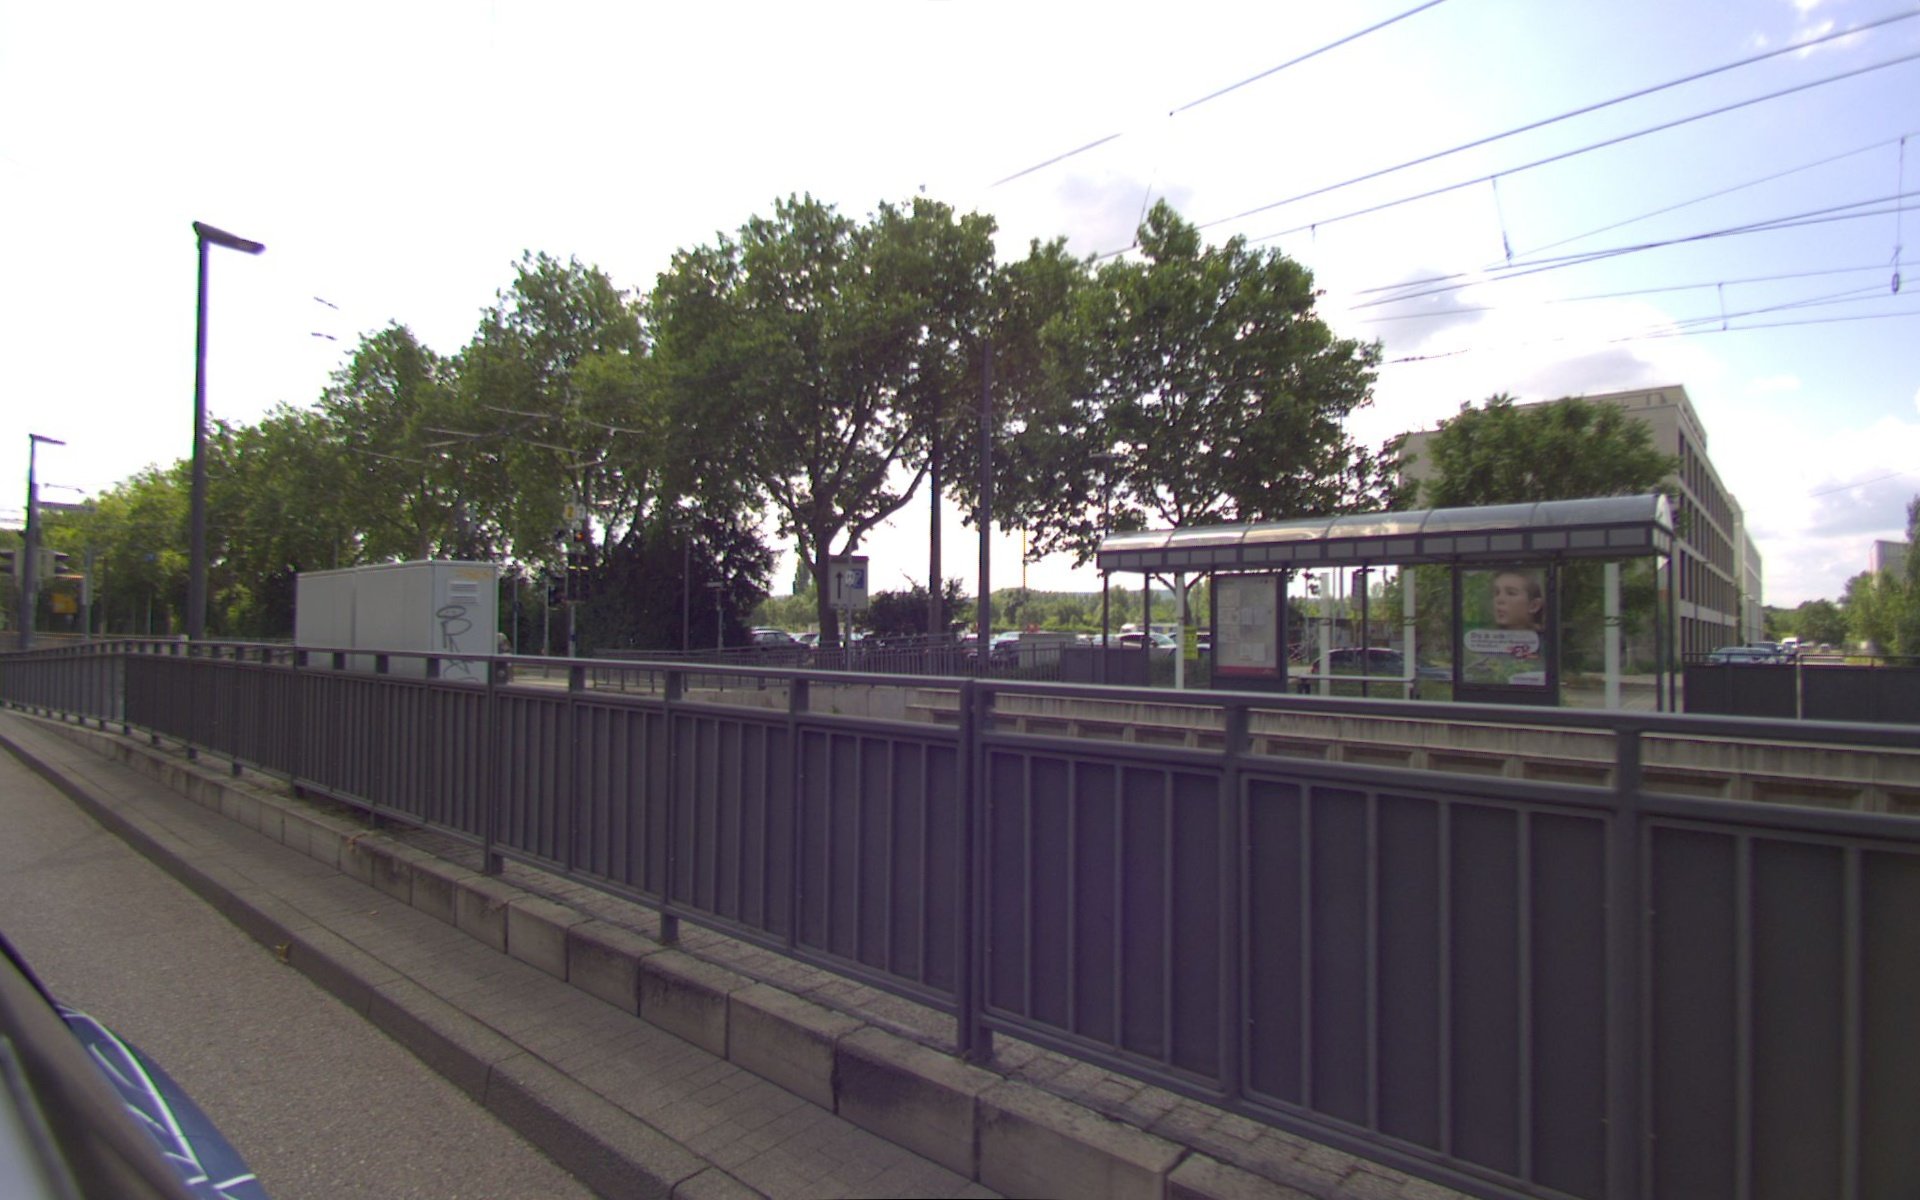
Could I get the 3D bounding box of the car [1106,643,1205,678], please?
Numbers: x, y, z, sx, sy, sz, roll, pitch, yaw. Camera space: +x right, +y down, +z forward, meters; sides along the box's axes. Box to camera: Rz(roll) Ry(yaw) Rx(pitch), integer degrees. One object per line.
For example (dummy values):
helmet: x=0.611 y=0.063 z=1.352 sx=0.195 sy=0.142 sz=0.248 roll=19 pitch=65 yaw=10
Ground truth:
car: x=8.708 y=2.672 z=45.269 sx=3.997 sy=1.487 sz=1.779 roll=-2 pitch=-4 yaw=41

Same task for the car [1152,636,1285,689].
car: x=7.977 y=1.926 z=31.406 sx=3.654 sy=1.546 sz=1.671 roll=-3 pitch=-4 yaw=44

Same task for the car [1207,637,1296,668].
car: x=15.246 y=2.758 z=53.027 sx=4.104 sy=1.494 sz=1.860 roll=-1 pitch=-4 yaw=41

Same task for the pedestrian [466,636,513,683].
pedestrian: x=-14.069 y=1.786 z=30.293 sx=0.912 sy=1.354 sz=0.862 roll=1 pitch=-3 yaw=8

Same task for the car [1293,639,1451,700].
car: x=11.253 y=1.871 z=27.793 sx=3.654 sy=1.546 sz=1.671 roll=-3 pitch=-4 yaw=44

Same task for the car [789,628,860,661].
car: x=-8.392 y=2.759 z=62.949 sx=1.998 sy=1.913 sz=4.057 roll=-1 pitch=-4 yaw=38

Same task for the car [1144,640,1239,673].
car: x=10.829 y=2.639 z=47.464 sx=3.997 sy=1.487 sz=1.779 roll=-2 pitch=-4 yaw=41

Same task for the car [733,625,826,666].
car: x=-8.723 y=2.236 z=49.061 sx=1.999 sy=1.845 sz=4.053 roll=-1 pitch=-4 yaw=42

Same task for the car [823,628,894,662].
car: x=-6.108 y=2.724 z=61.128 sx=1.998 sy=1.913 sz=4.057 roll=-1 pitch=-4 yaw=38

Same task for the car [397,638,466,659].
car: x=-38.268 y=3.514 z=73.321 sx=1.999 sy=1.453 sz=3.945 roll=-1 pitch=-3 yaw=41
